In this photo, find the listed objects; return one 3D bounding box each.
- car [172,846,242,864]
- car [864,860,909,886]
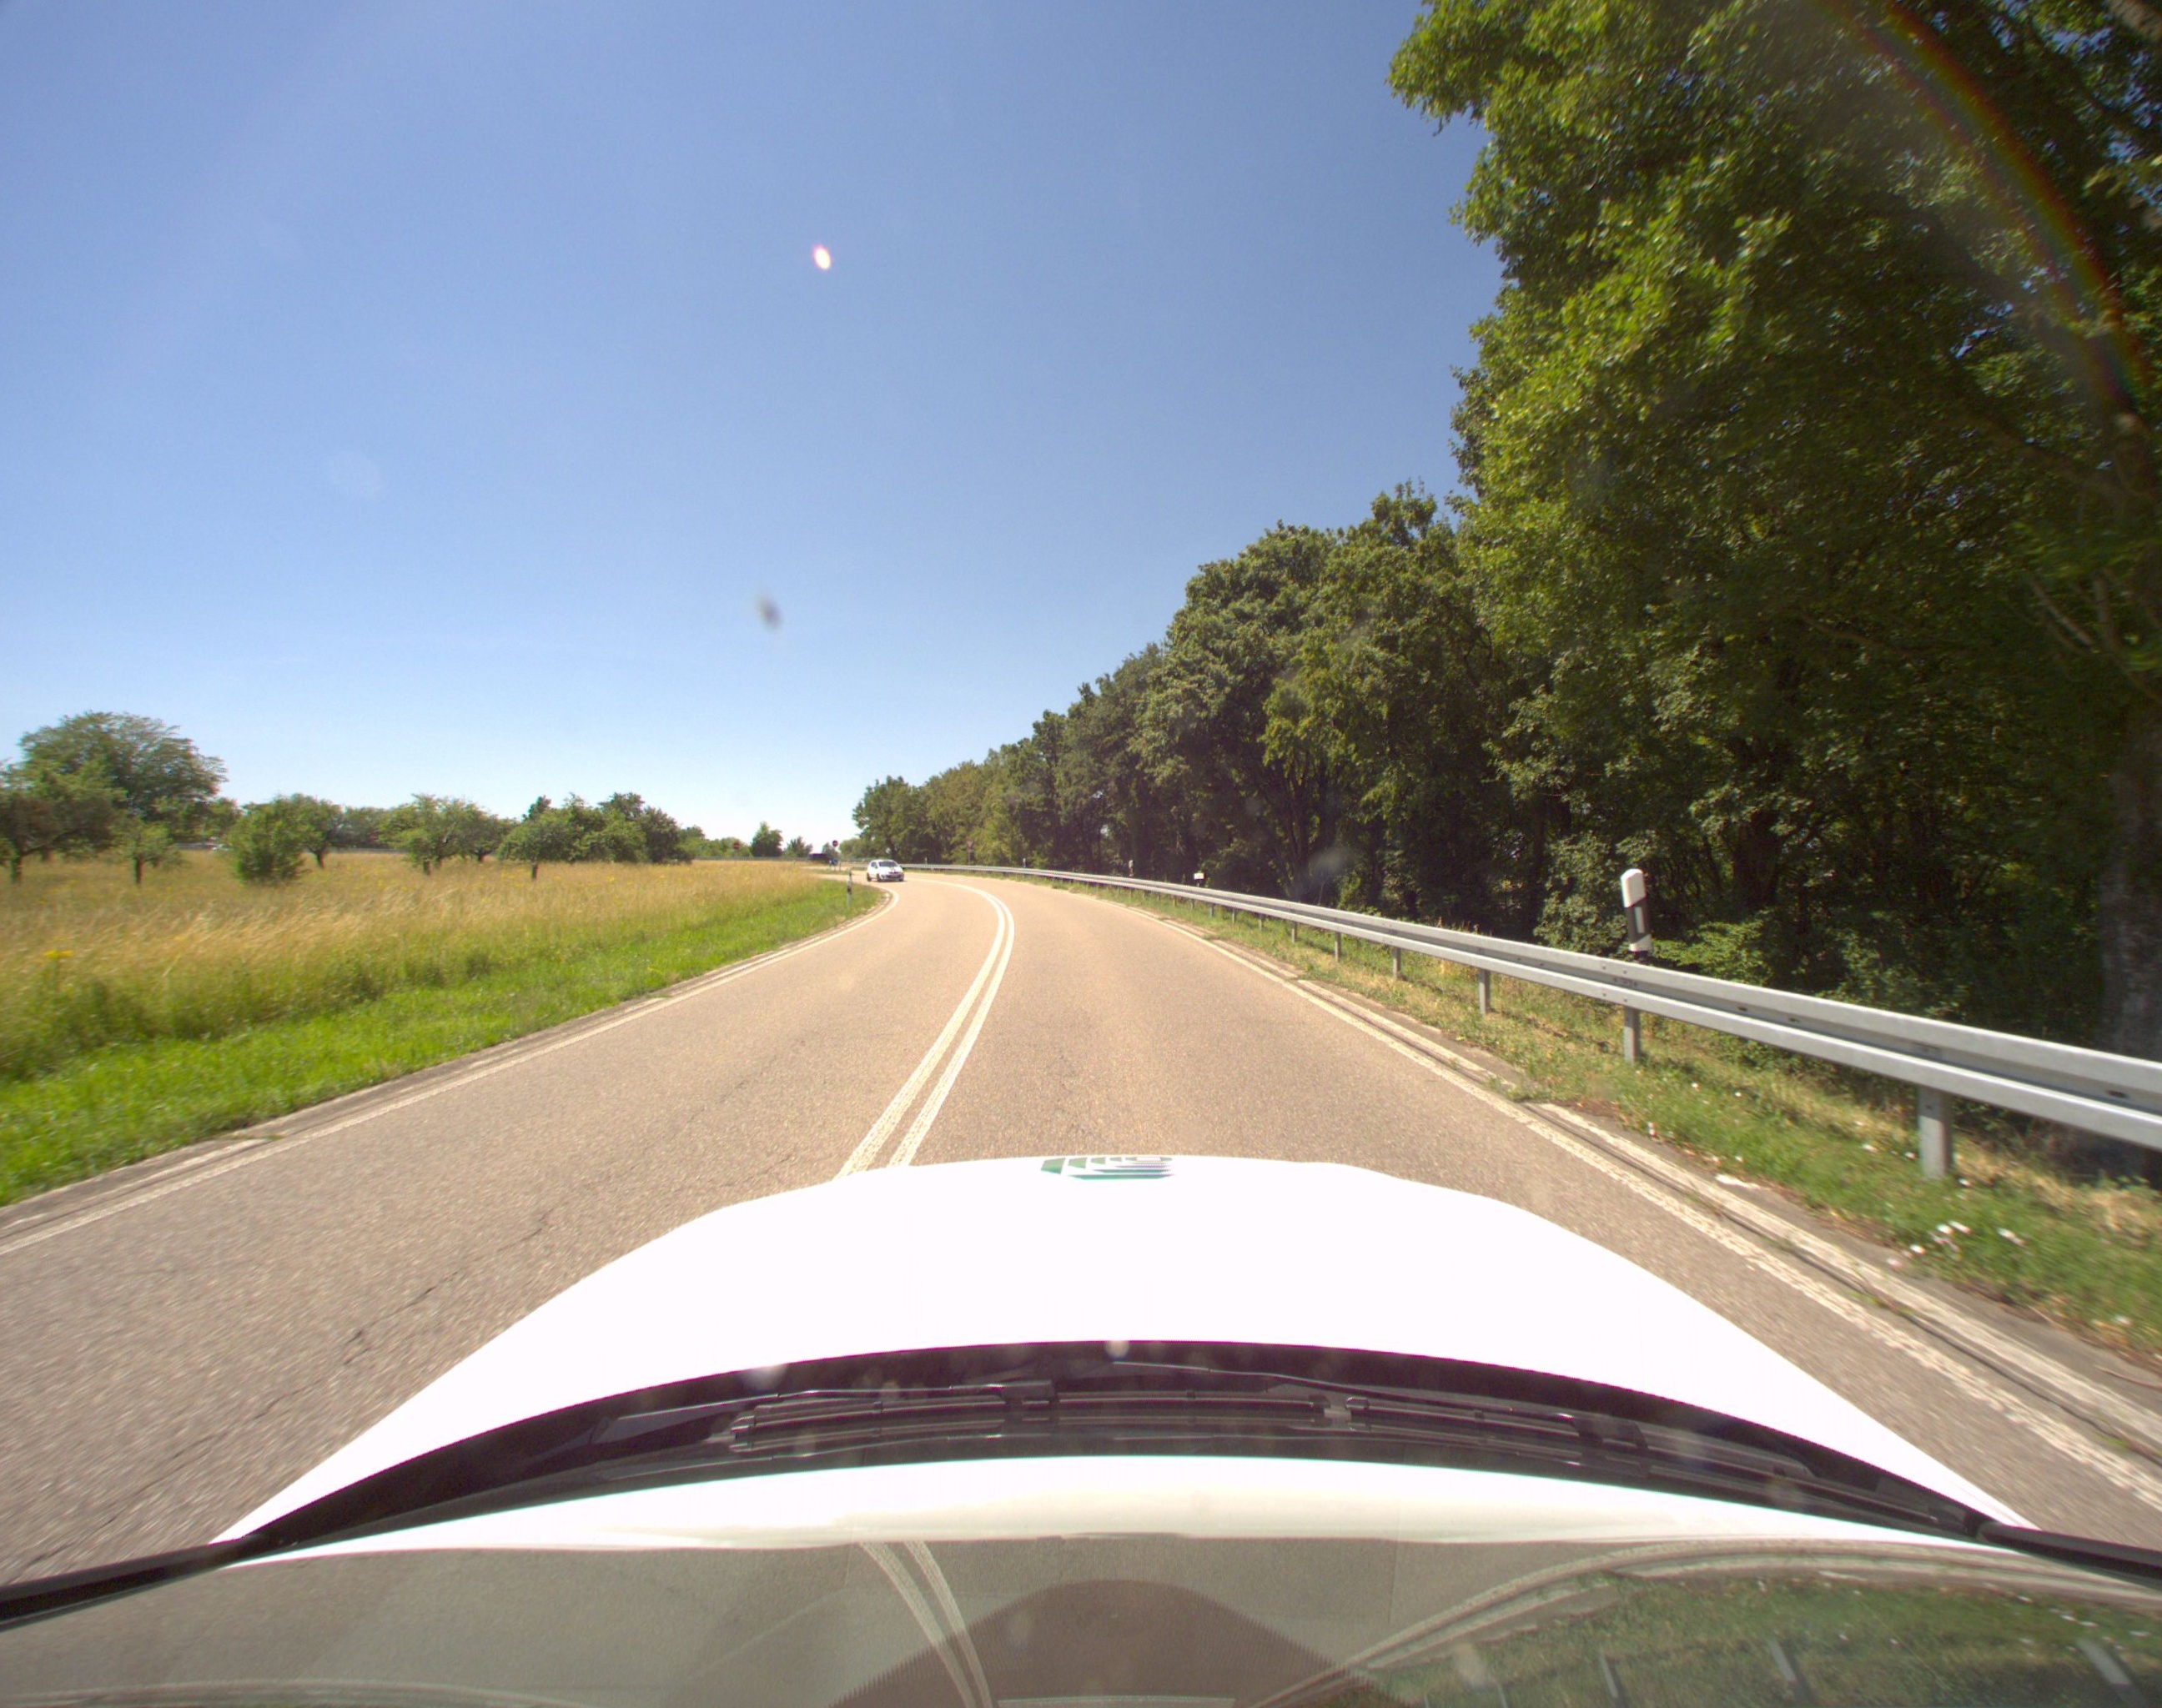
[{"bbox_3d":[-77.134,0.075,71.950,1.829,1.424,4.172,0,1,45],"label":"car"},{"bbox_3d":[-13.152,1.298,54.831,1.834,1.507,4.131,-2,-3,-30],"label":"car"}]
